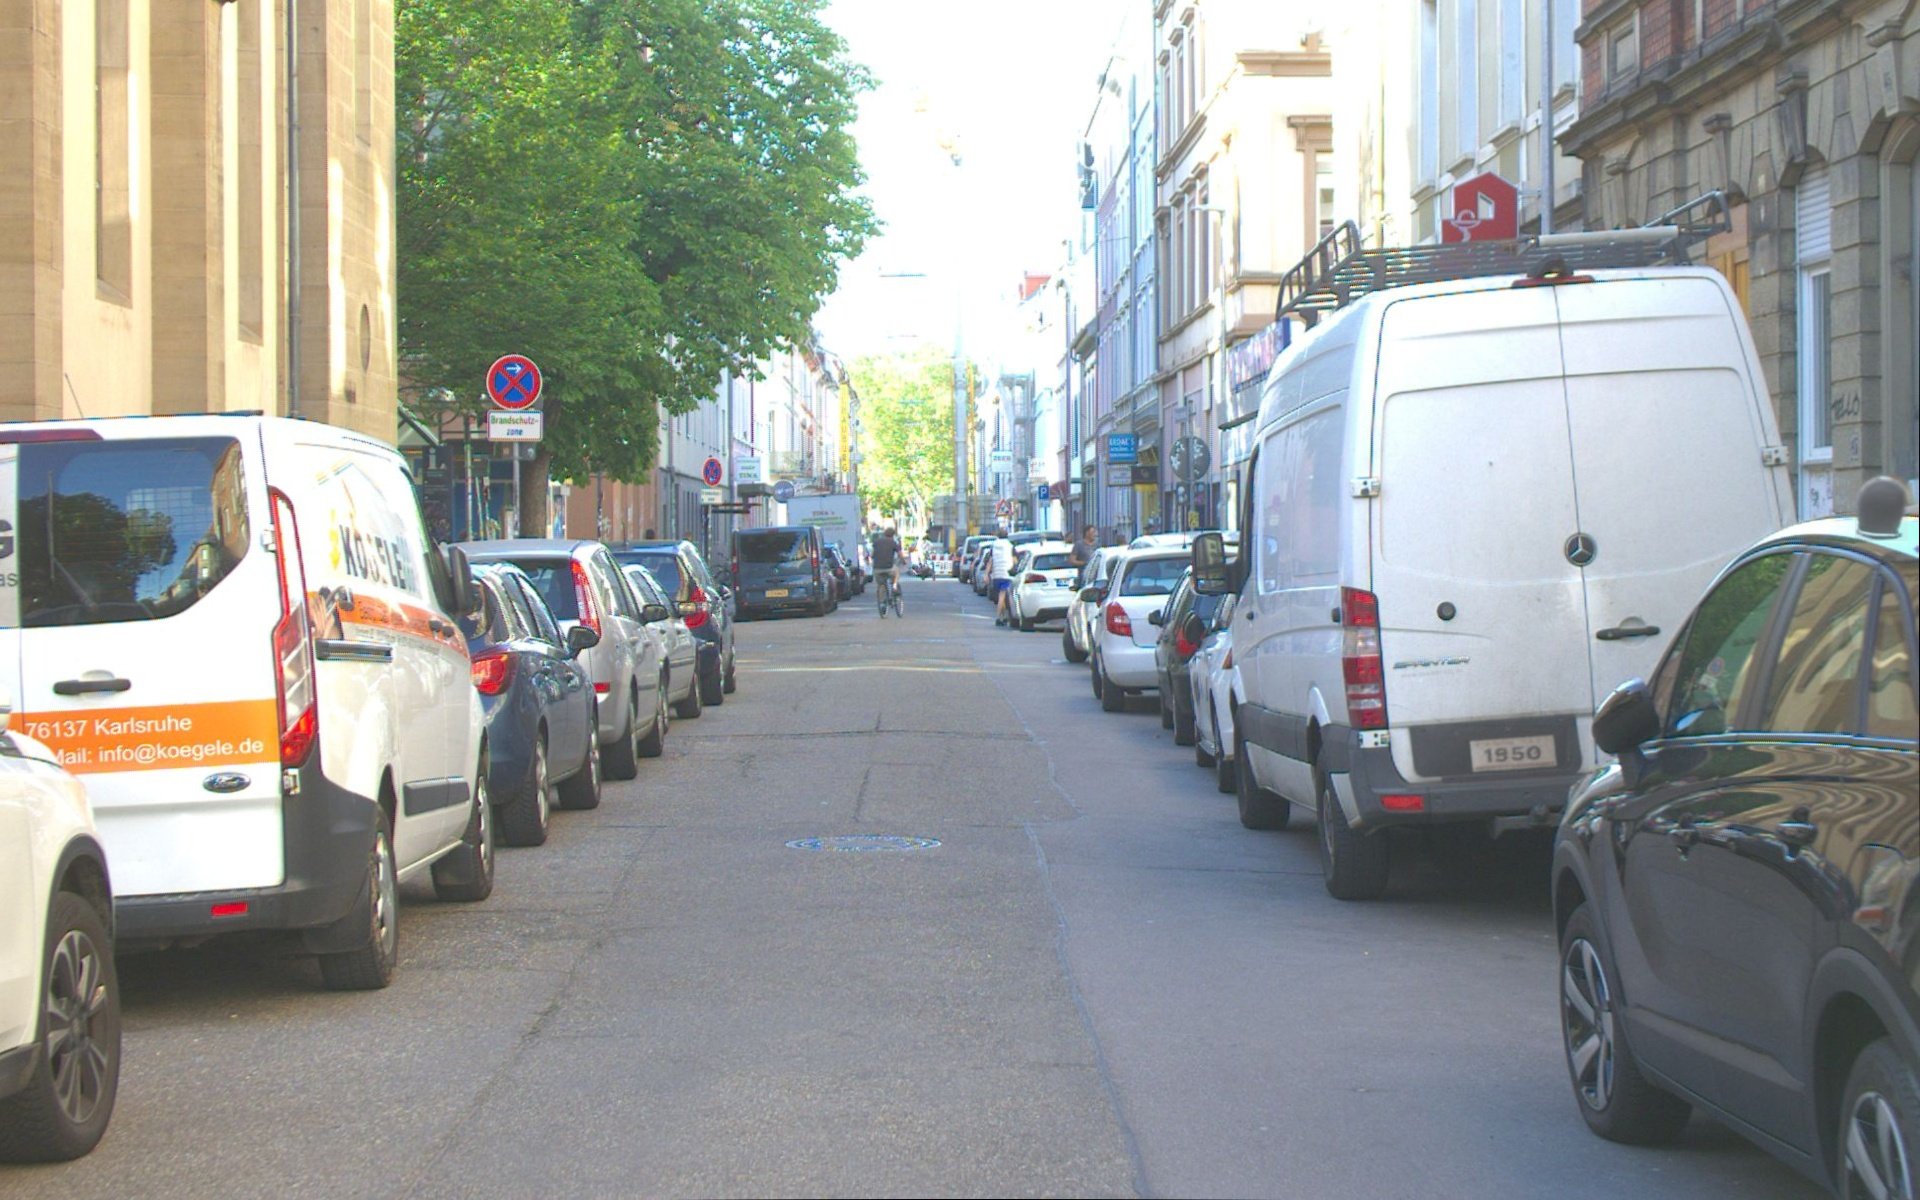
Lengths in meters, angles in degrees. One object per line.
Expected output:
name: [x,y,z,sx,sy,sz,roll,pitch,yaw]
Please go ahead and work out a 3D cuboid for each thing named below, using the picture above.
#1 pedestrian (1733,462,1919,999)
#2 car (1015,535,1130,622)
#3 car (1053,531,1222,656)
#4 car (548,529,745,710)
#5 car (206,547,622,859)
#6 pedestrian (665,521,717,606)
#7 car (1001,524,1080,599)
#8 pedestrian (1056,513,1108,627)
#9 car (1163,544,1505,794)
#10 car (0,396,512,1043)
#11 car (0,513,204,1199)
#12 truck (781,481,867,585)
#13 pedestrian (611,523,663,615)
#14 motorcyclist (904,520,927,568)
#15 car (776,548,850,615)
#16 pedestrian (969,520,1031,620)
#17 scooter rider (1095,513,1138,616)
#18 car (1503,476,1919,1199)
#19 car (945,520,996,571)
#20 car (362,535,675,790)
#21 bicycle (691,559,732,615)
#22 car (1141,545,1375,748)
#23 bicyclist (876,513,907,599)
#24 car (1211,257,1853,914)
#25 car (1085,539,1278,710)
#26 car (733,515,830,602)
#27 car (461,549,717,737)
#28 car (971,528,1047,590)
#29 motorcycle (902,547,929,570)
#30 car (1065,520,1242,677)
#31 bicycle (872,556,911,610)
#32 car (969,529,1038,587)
pedestrian: [2.995,0.428,11.755,0.640,1.766,0.678,1,1,13]
car: [1.965,-0.405,61.154,1.897,1.483,3.869,0,1,0]
car: [2.178,-0.113,43.101,1.716,1.483,3.870,0,1,-3]
car: [-3.040,0.150,33.938,1.600,1.608,3.808,-3,1,-1]
car: [-2.856,0.473,18.738,1.615,1.447,3.950,-2,1,0]
pedestrian: [-5.222,-0.718,66.837,0.929,1.631,0.806,0,1,1]
car: [1.891,-0.940,81.914,1.769,1.735,4.000,0,1,0]
pedestrian: [1.986,-0.494,56.113,0.681,1.837,0.695,0,1,-12]
car: [2.417,0.387,23.243,1.779,1.481,4.360,1,1,0]
car: [-2.897,0.337,12.851,1.864,1.950,4.611,-2,1,-1]
car: [-2.842,0.611,7.079,1.742,1.581,3.869,0,1,0]
truck: [-4.364,-2.173,111.485,2.532,3.270,6.995,0,1,0]
pedestrian: [-6.345,-0.611,67.649,0.929,1.780,0.806,0,1,1]
motorcyclist: [-1.887,-2.370,145.266,0.902,2.007,1.190,0,1,-2]
car: [-4.030,-0.526,94.852,1.875,1.790,4.000,0,1,0]
pedestrian: [0.742,-0.563,63.536,0.784,1.837,1.010,1,1,25]
scooter rider: [2.511,-0.569,55.014,0.650,1.637,0.683,0,1,5]
car: [2.356,0.578,7.500,1.687,1.637,3.925,0,1,-1]
car: [0.421,-2.179,137.412,1.993,2.007,4.000,0,1,0]
car: [-2.921,0.354,23.465,1.673,1.553,4.000,-1,1,-1]
bicycle: [-5.077,-0.275,70.170,0.644,1.105,1.605,-1,1,-11]
car: [2.353,0.324,27.869,1.570,1.490,3.653,1,1,0]
bicyclist: [-1.346,-0.872,67.598,0.605,1.682,0.885,0,1,0]
car: [2.486,-0.123,16.611,2.068,2.602,5.888,0,1,0]
car: [2.056,0.186,32.783,1.603,1.499,4.000,1,1,1]
car: [-3.777,-0.893,73.285,1.875,1.790,4.000,0,1,0]
car: [-3.106,0.314,29.438,1.570,1.393,3.808,-4,1,2]
car: [1.332,-1.155,95.341,1.993,1.626,4.000,2,1,0]
motorcycle: [-1.894,-1.763,145.459,1.042,0.977,2.825,0,1,-2]
car: [2.100,-0.054,38.135,1.716,1.640,4.000,0,1,0]
bicycle: [-1.348,-0.348,67.680,0.739,1.040,1.859,0,1,0]
car: [1.321,-1.321,105.980,1.993,1.680,4.000,2,1,0]
